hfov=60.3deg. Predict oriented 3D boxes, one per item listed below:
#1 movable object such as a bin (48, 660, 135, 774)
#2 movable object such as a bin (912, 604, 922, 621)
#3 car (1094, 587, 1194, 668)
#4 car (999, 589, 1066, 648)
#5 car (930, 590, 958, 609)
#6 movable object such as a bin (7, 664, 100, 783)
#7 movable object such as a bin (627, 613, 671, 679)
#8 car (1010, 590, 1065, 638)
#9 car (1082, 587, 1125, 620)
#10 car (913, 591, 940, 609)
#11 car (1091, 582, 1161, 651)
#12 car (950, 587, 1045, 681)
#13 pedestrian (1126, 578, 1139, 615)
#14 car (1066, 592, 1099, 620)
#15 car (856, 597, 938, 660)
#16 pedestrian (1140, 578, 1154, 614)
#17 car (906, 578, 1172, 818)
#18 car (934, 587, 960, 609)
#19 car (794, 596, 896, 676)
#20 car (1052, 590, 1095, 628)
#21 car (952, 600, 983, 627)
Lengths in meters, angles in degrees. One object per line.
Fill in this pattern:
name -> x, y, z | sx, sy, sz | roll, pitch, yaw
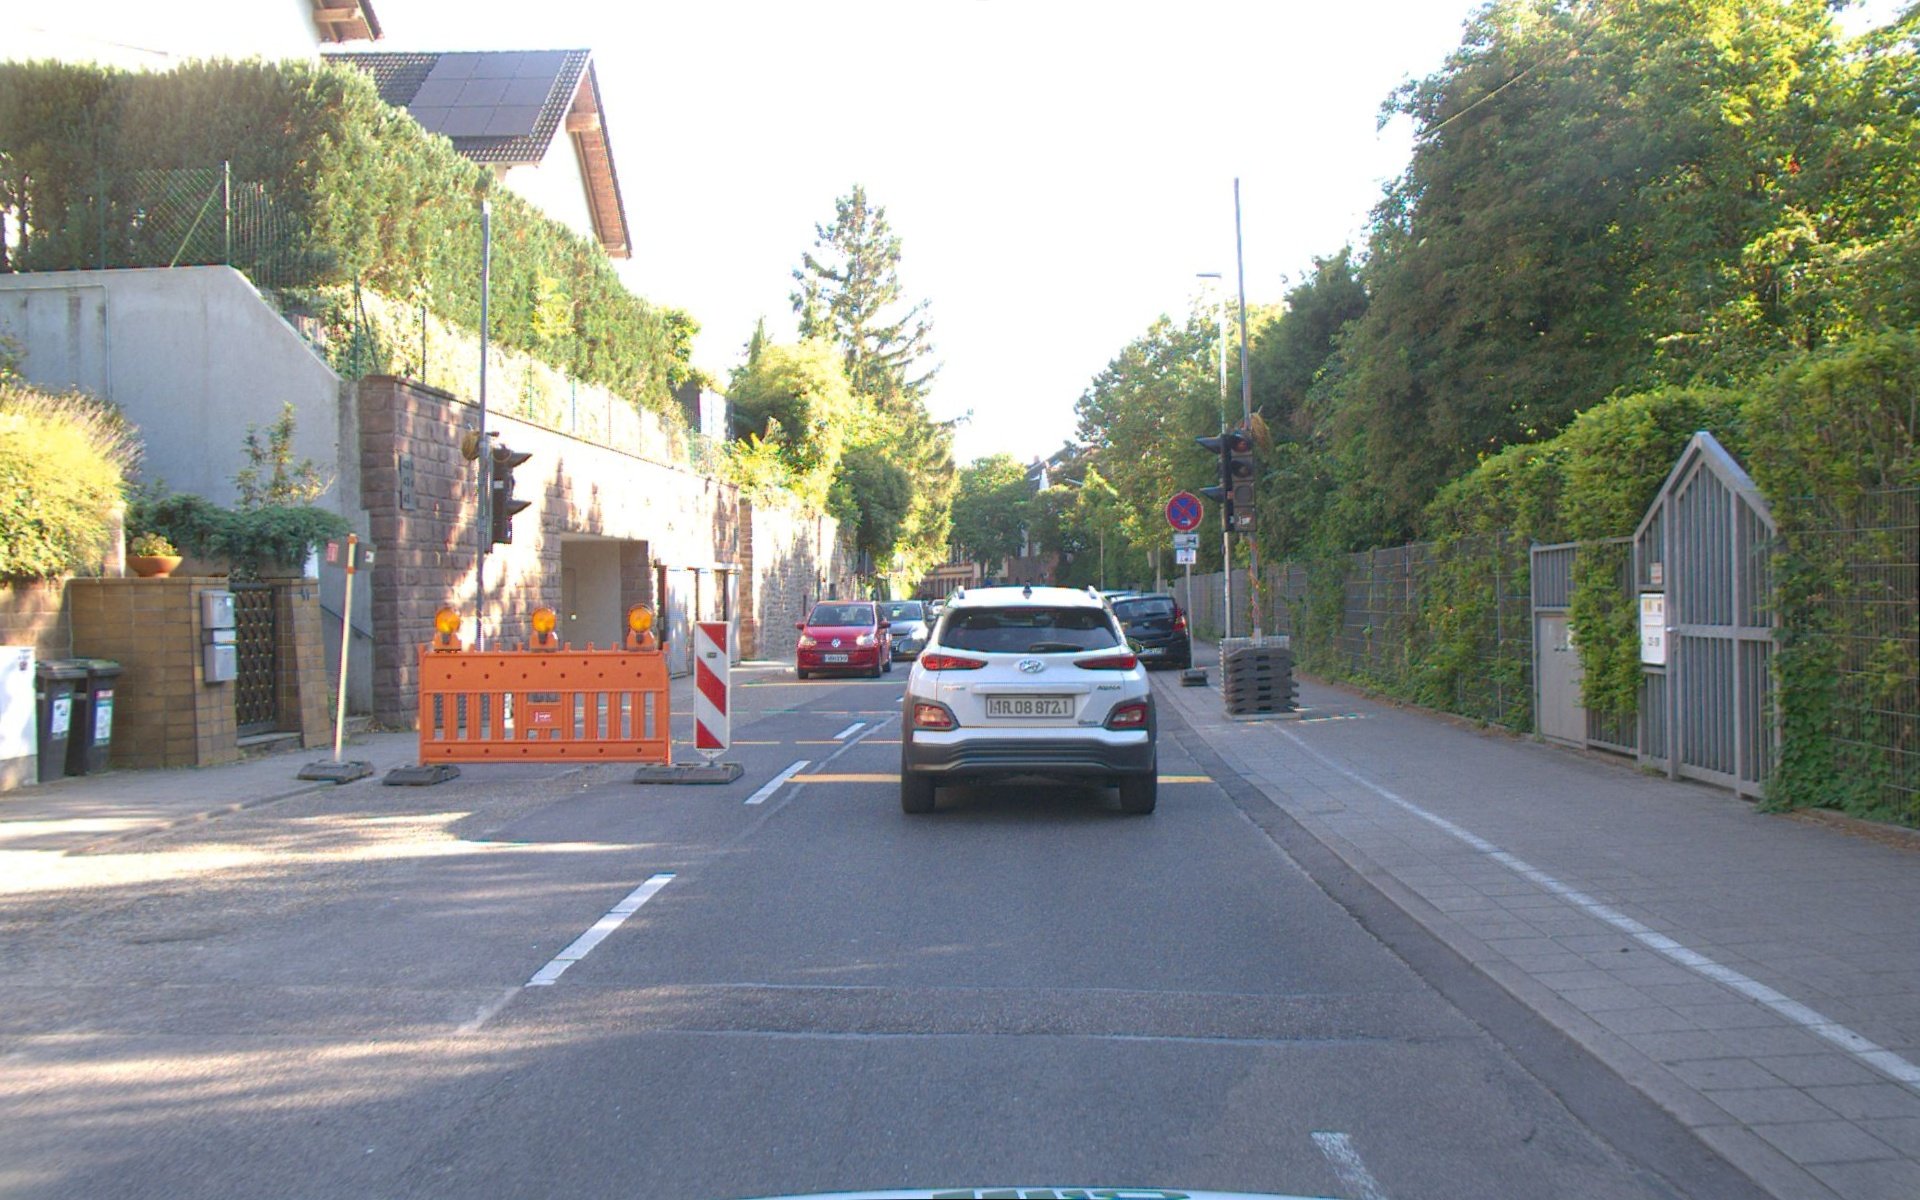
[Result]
movable object such as a bin -> -7.134, 0.955, 13.598 | 0.447, 0.899, 0.501 | 0, 0, 2
movable object such as a bin -> -2.624, 0.775, 100.143 | 0.485, 1.029, 1.113 | 0, -1, 4
car -> 3.609, 0.502, 32.955 | 1.756, 1.466, 4.002 | -1, 0, 4
car -> 1.959, 0.463, 43.734 | 1.537, 1.503, 3.550 | 0, 0, 6
car -> -1.473, -0.043, 148.656 | 1.725, 1.645, 3.987 | 0, 1, -13
movable object such as a bin -> -7.161, 0.969, 13.072 | 0.447, 0.899, 0.501 | 0, 0, 2
movable object such as a bin -> -5.847, 0.864, 31.135 | 0.644, 1.196, 0.666 | -1, 0, 4
car -> 2.778, 0.478, 58.469 | 1.658, 1.560, 3.884 | 2, 0, 6
car -> 7.539, 0.188, 87.103 | 1.562, 1.592, 3.996 | -3, 0, -4
car -> -3.125, -0.014, 153.820 | 1.725, 1.645, 3.987 | 0, 1, -13
car -> 4.328, 0.421, 43.146 | 1.618, 1.591, 2.874 | -6, -1, 6
car -> 0.728, 0.572, 30.110 | 1.480, 1.560, 3.550 | -1, 0, 5
pedestrian -> 7.794, -0.147, 74.751 | 0.492, 1.634, 0.491 | -3, 0, 4
car -> 7.236, 0.347, 97.903 | 1.561, 1.515, 3.602 | -3, 0, 0
car -> -1.508, 0.662, 40.867 | 1.614, 1.435, 3.932 | -2, 0, 3
pedestrian -> 8.410, -0.194, 74.413 | 0.492, 1.596, 0.504 | -3, 0, 4
car -> 0.554, 0.632, 12.848 | 1.735, 1.569, 4.001 | 0, 0, 1
car -> -0.982, -0.141, 122.586 | 1.707, 1.500, 3.998 | -4, -1, -3
car -> -2.214, 0.673, 32.640 | 1.593, 1.446, 3.564 | -2, 0, 2
car -> 5.089, 0.378, 73.811 | 1.658, 1.472, 3.885 | -4, 1, 7
car -> 0.445, 0.796, 97.620 | 1.518, 1.491, 3.570 | -3, 0, 4
